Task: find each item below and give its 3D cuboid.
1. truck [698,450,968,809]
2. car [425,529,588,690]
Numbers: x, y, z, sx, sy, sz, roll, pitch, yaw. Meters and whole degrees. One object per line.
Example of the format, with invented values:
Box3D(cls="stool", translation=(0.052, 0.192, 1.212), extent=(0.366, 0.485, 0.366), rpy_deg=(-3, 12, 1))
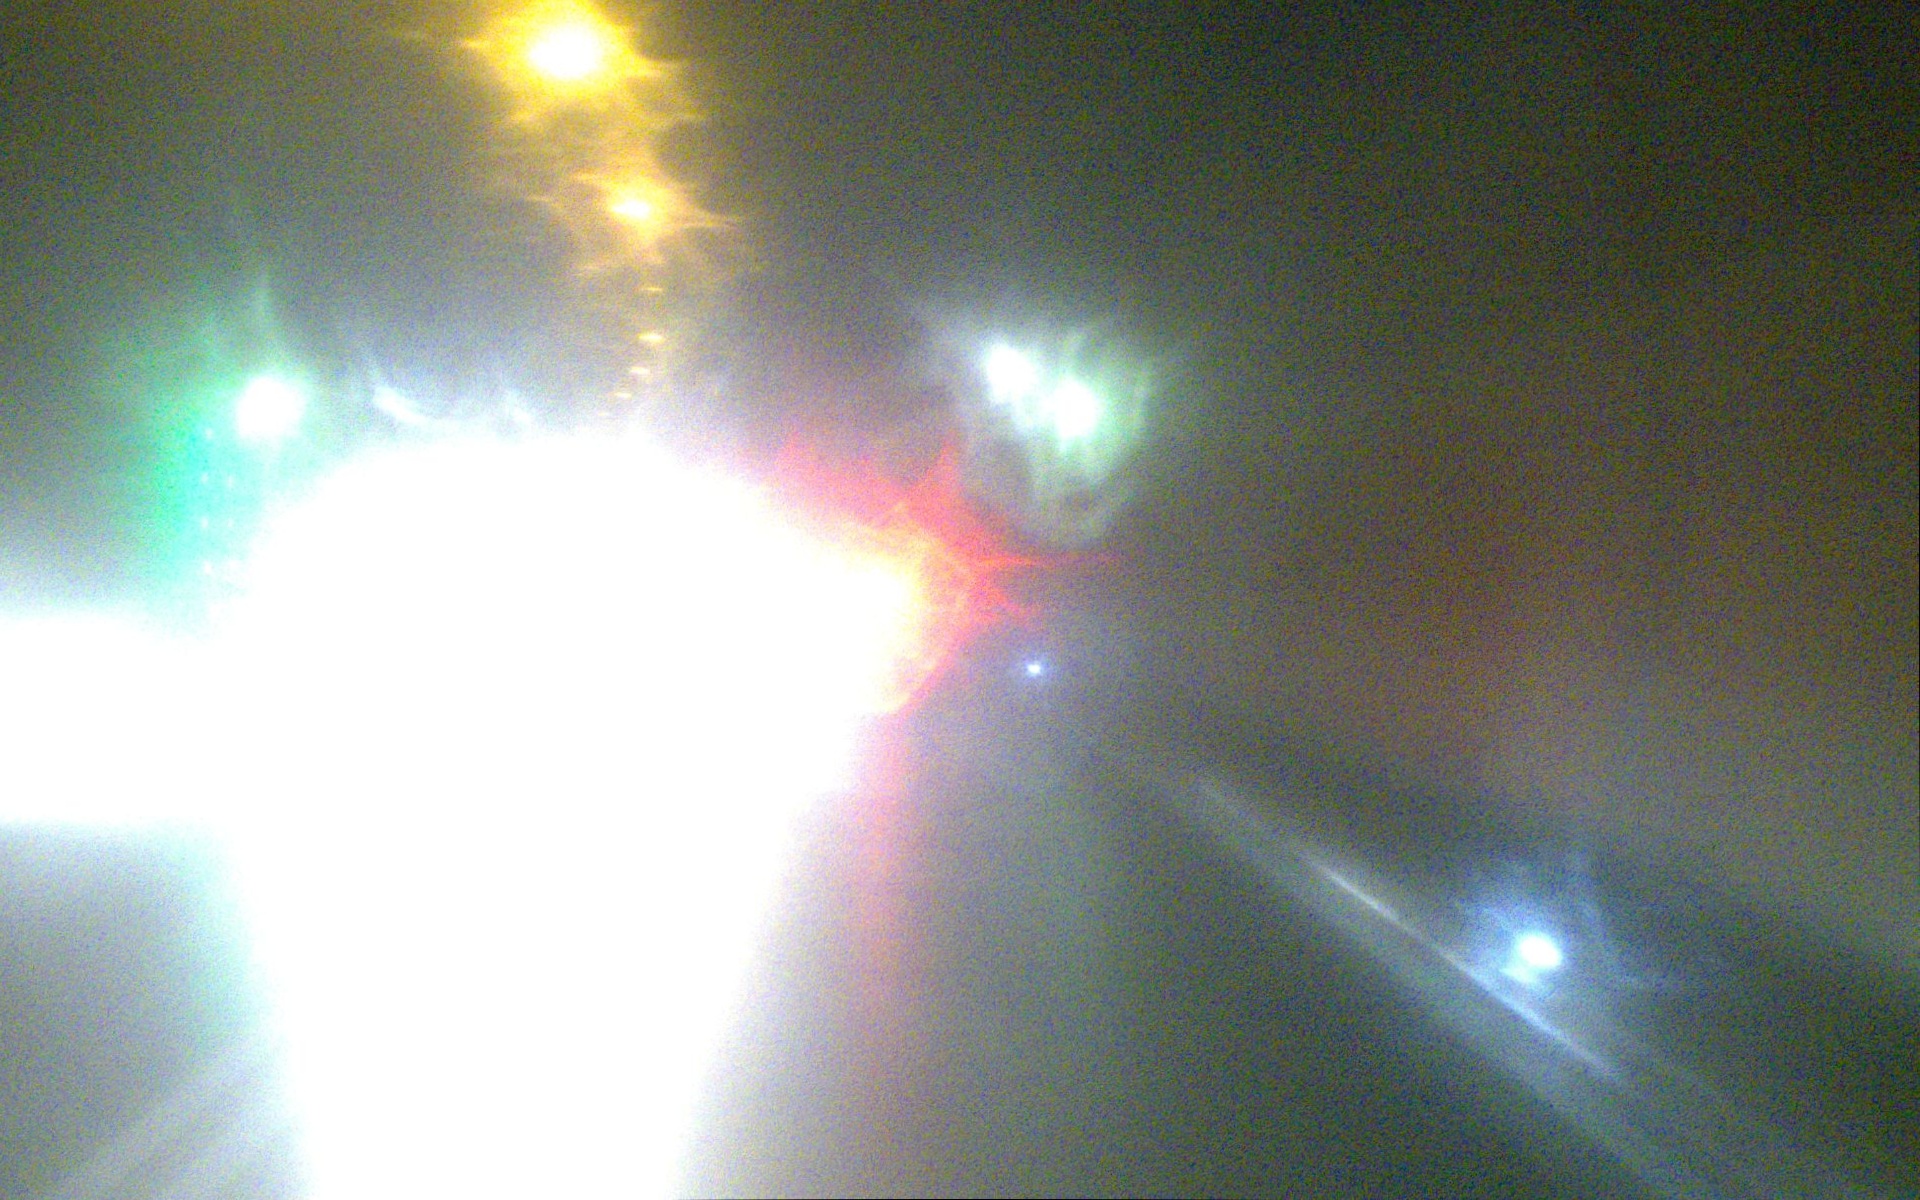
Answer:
Box3D(cls="truck", translation=(-1.065, 0.184, 32.488), extent=(2.262, 3.000, 7.415), rpy_deg=(0, 1, 0))
Box3D(cls="car", translation=(-4.998, 0.063, 38.215), extent=(1.630, 1.644, 3.776), rpy_deg=(-2, 1, -6))
